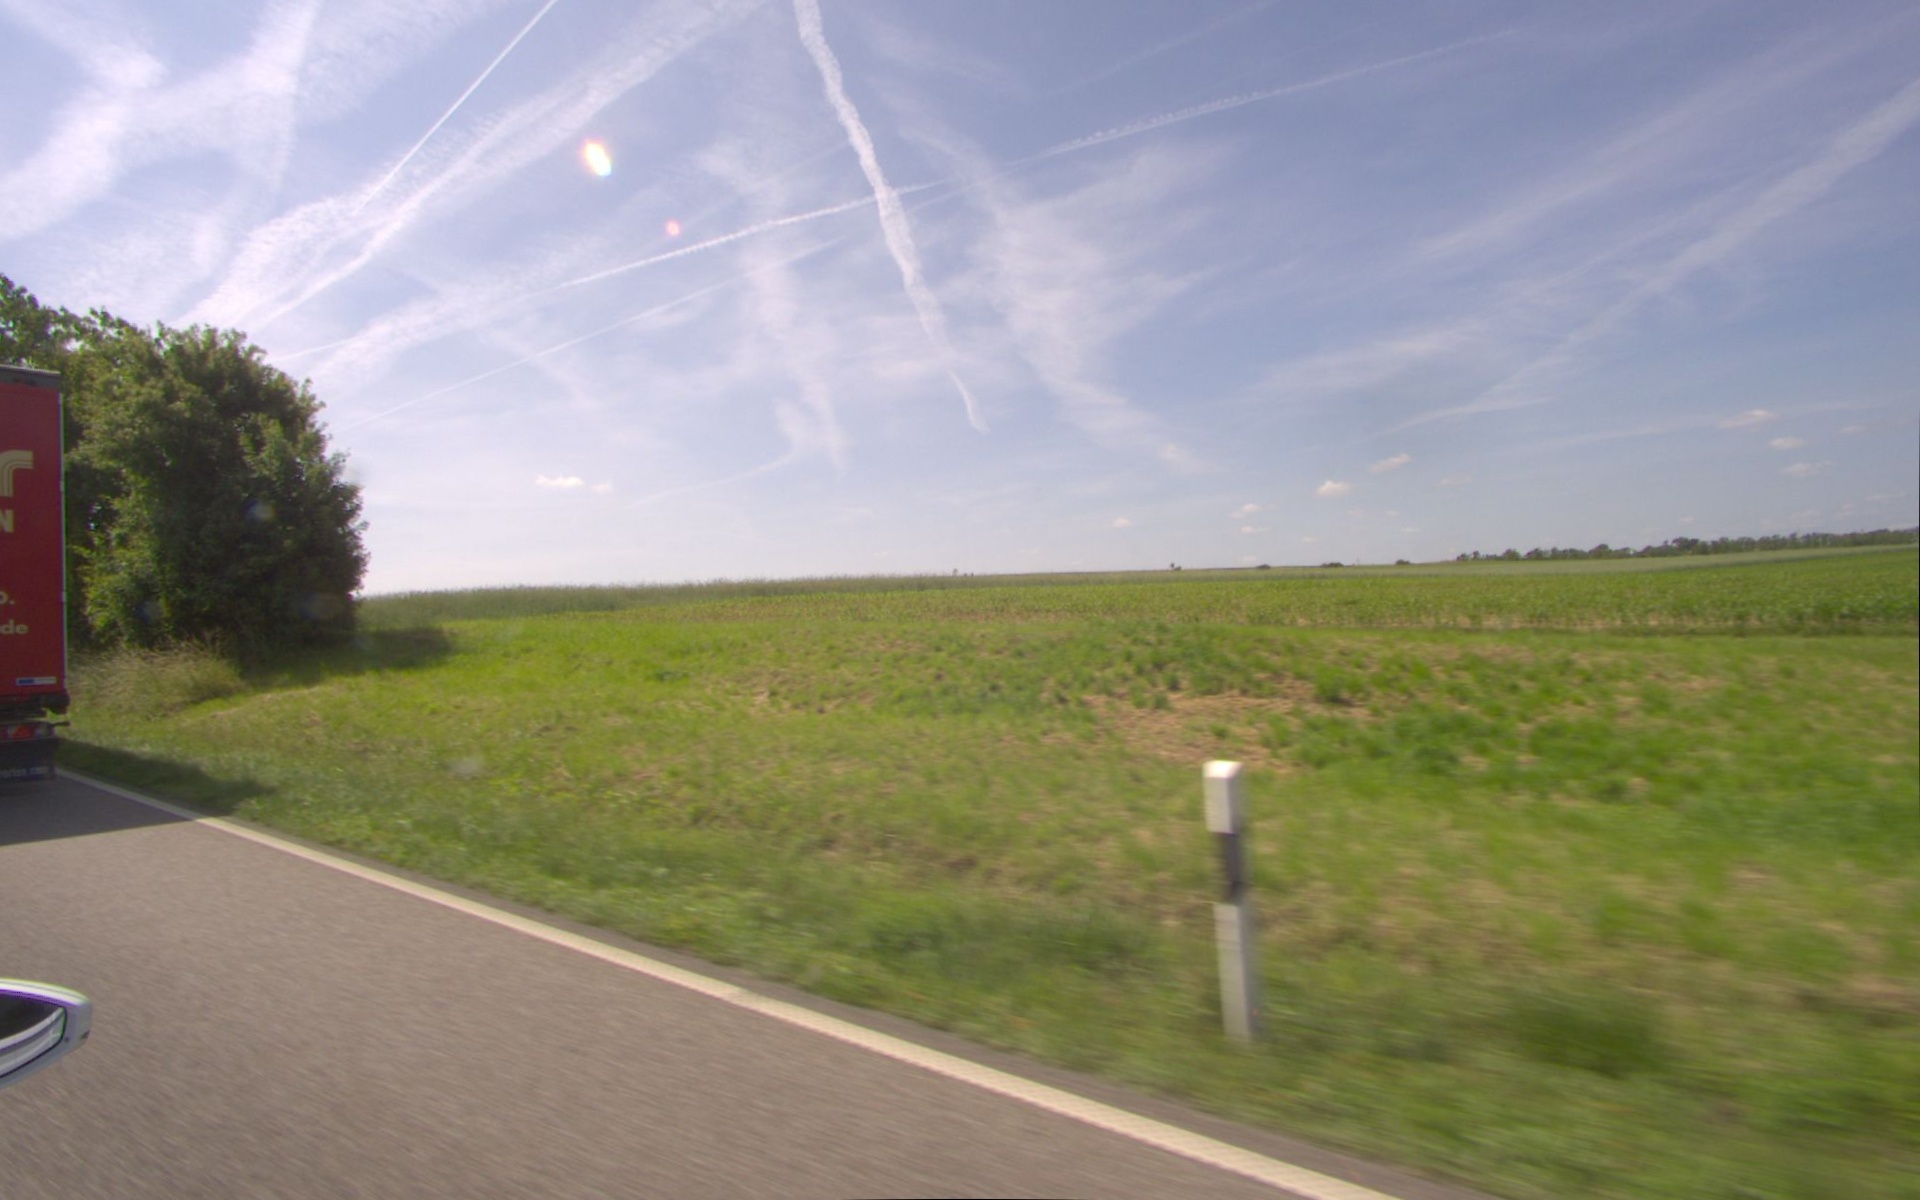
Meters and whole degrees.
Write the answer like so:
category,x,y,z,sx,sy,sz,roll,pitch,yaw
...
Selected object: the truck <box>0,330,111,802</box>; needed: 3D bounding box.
category,x,y,z,sx,sy,sz,roll,pitch,yaw
truck,-15.585,-0.175,13.420,16.502,4.233,2.997,-1,-1,37
